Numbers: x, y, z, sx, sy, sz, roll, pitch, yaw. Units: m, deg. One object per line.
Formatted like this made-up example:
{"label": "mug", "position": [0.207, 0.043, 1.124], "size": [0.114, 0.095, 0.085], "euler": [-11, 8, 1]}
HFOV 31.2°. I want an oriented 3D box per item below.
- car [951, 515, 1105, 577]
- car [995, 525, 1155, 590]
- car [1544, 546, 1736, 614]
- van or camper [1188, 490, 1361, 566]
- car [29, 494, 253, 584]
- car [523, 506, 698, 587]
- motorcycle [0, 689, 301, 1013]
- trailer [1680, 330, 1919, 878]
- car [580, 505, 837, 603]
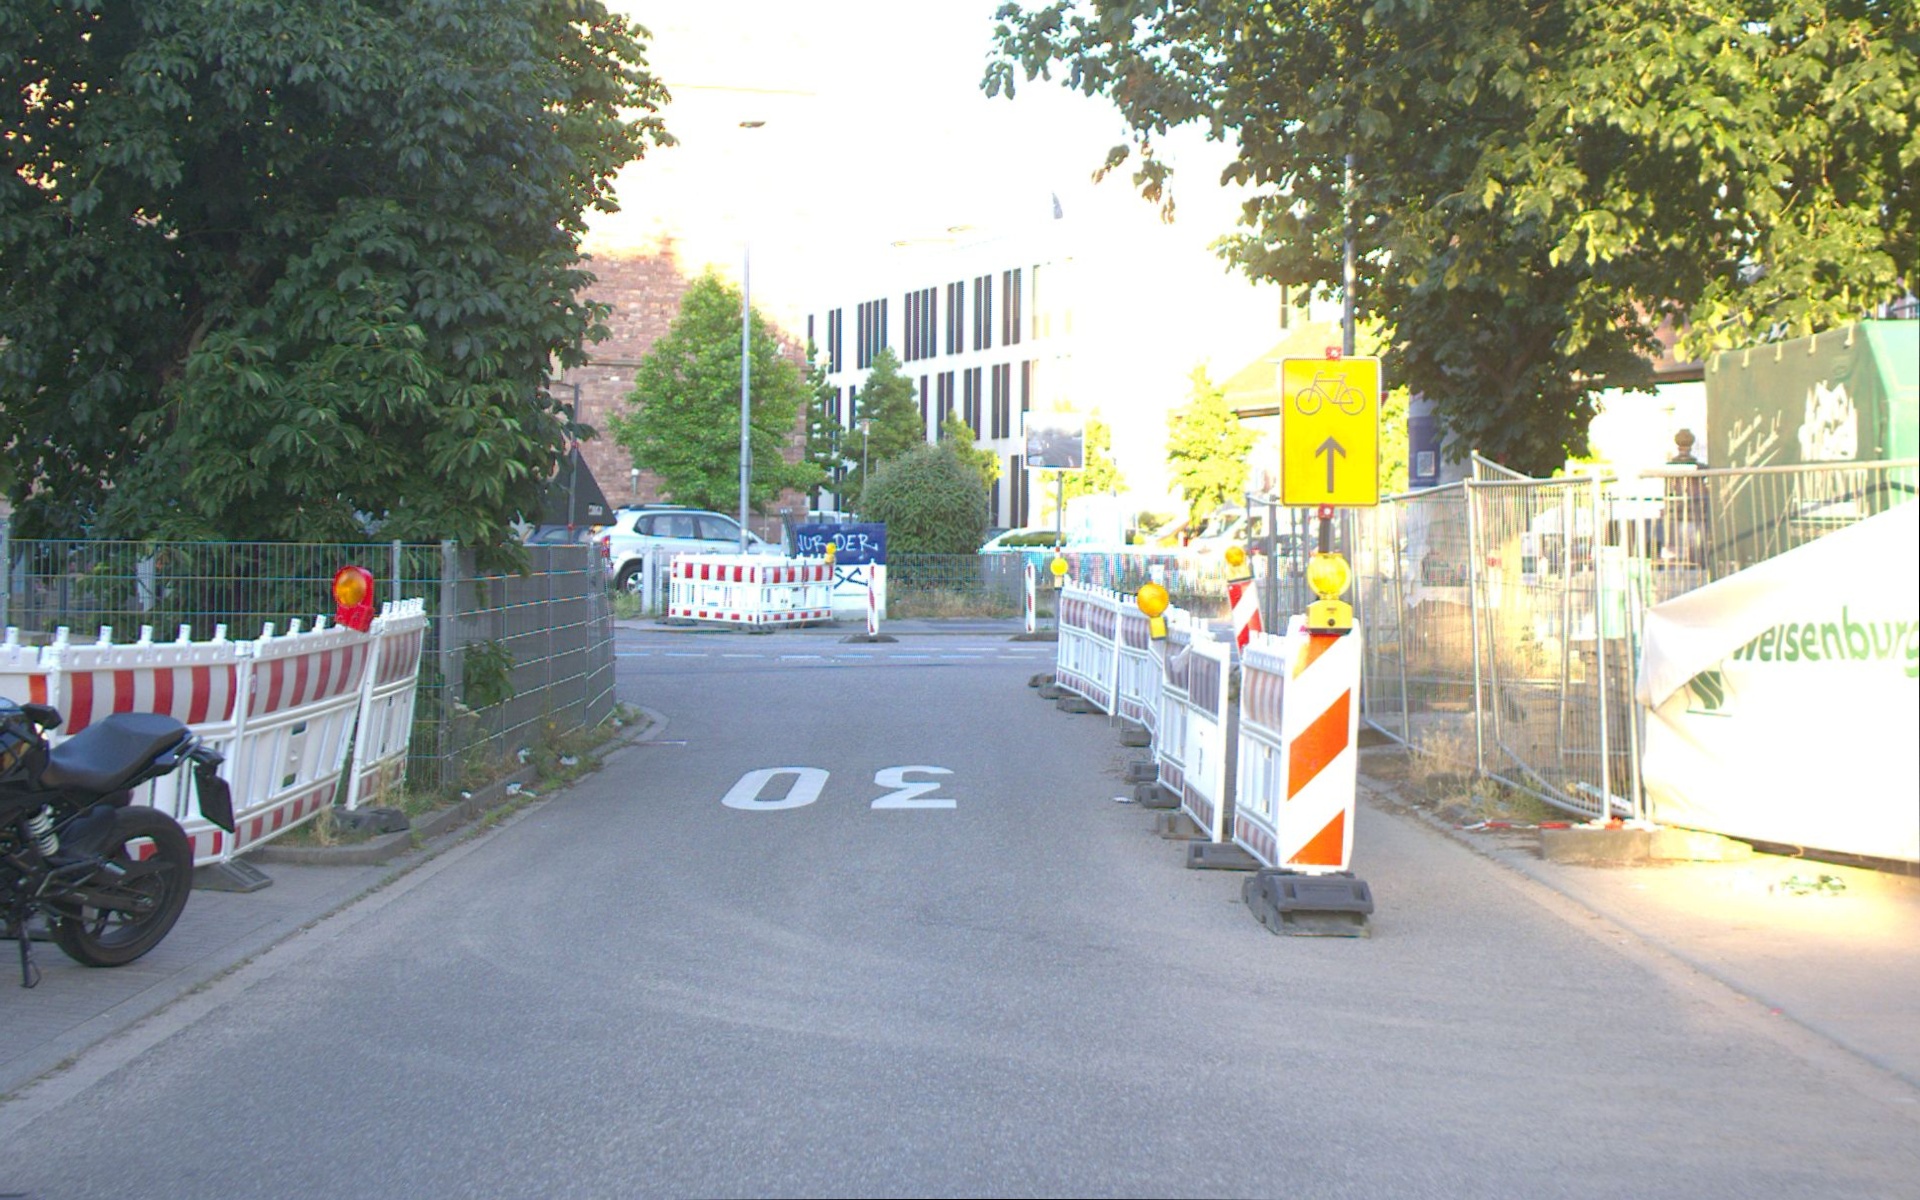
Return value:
{"label": "car", "position": [1.805, -1.425, 91.450], "size": [3.739, 1.597, 1.687], "euler": [0, 1, -21]}
{"label": "car", "position": [2.945, -1.090, 88.393], "size": [3.739, 1.597, 1.687], "euler": [0, 1, -21]}
{"label": "car", "position": [16.129, -0.472, 81.575], "size": [3.986, 1.567, 2.001], "euler": [0, 1, -21]}
{"label": "van or camper", "position": [9.511, -2.166, 103.891], "size": [4.961, 2.233, 1.687], "euler": [0, 1, -21]}
{"label": "car", "position": [-13.940, -1.036, 58.495], "size": [3.630, 1.498, 1.638], "euler": [0, 1, -16]}
{"label": "car", "position": [-7.539, -1.161, 74.131], "size": [3.474, 1.703, 1.669], "euler": [0, 1, -19]}
{"label": "motorcycle", "position": [-3.213, 0.844, 11.768], "size": [0.538, 1.017, 2.208], "euler": [4, 1, 29]}
{"label": "trailer", "position": [5.200, -0.020, 17.993], "size": [1.993, 2.531, 4.186], "euler": [1, 1, 1]}
{"label": "car", "position": [-4.484, -0.817, 61.218], "size": [4.268, 1.703, 1.703], "euler": [0, 1, -19]}
